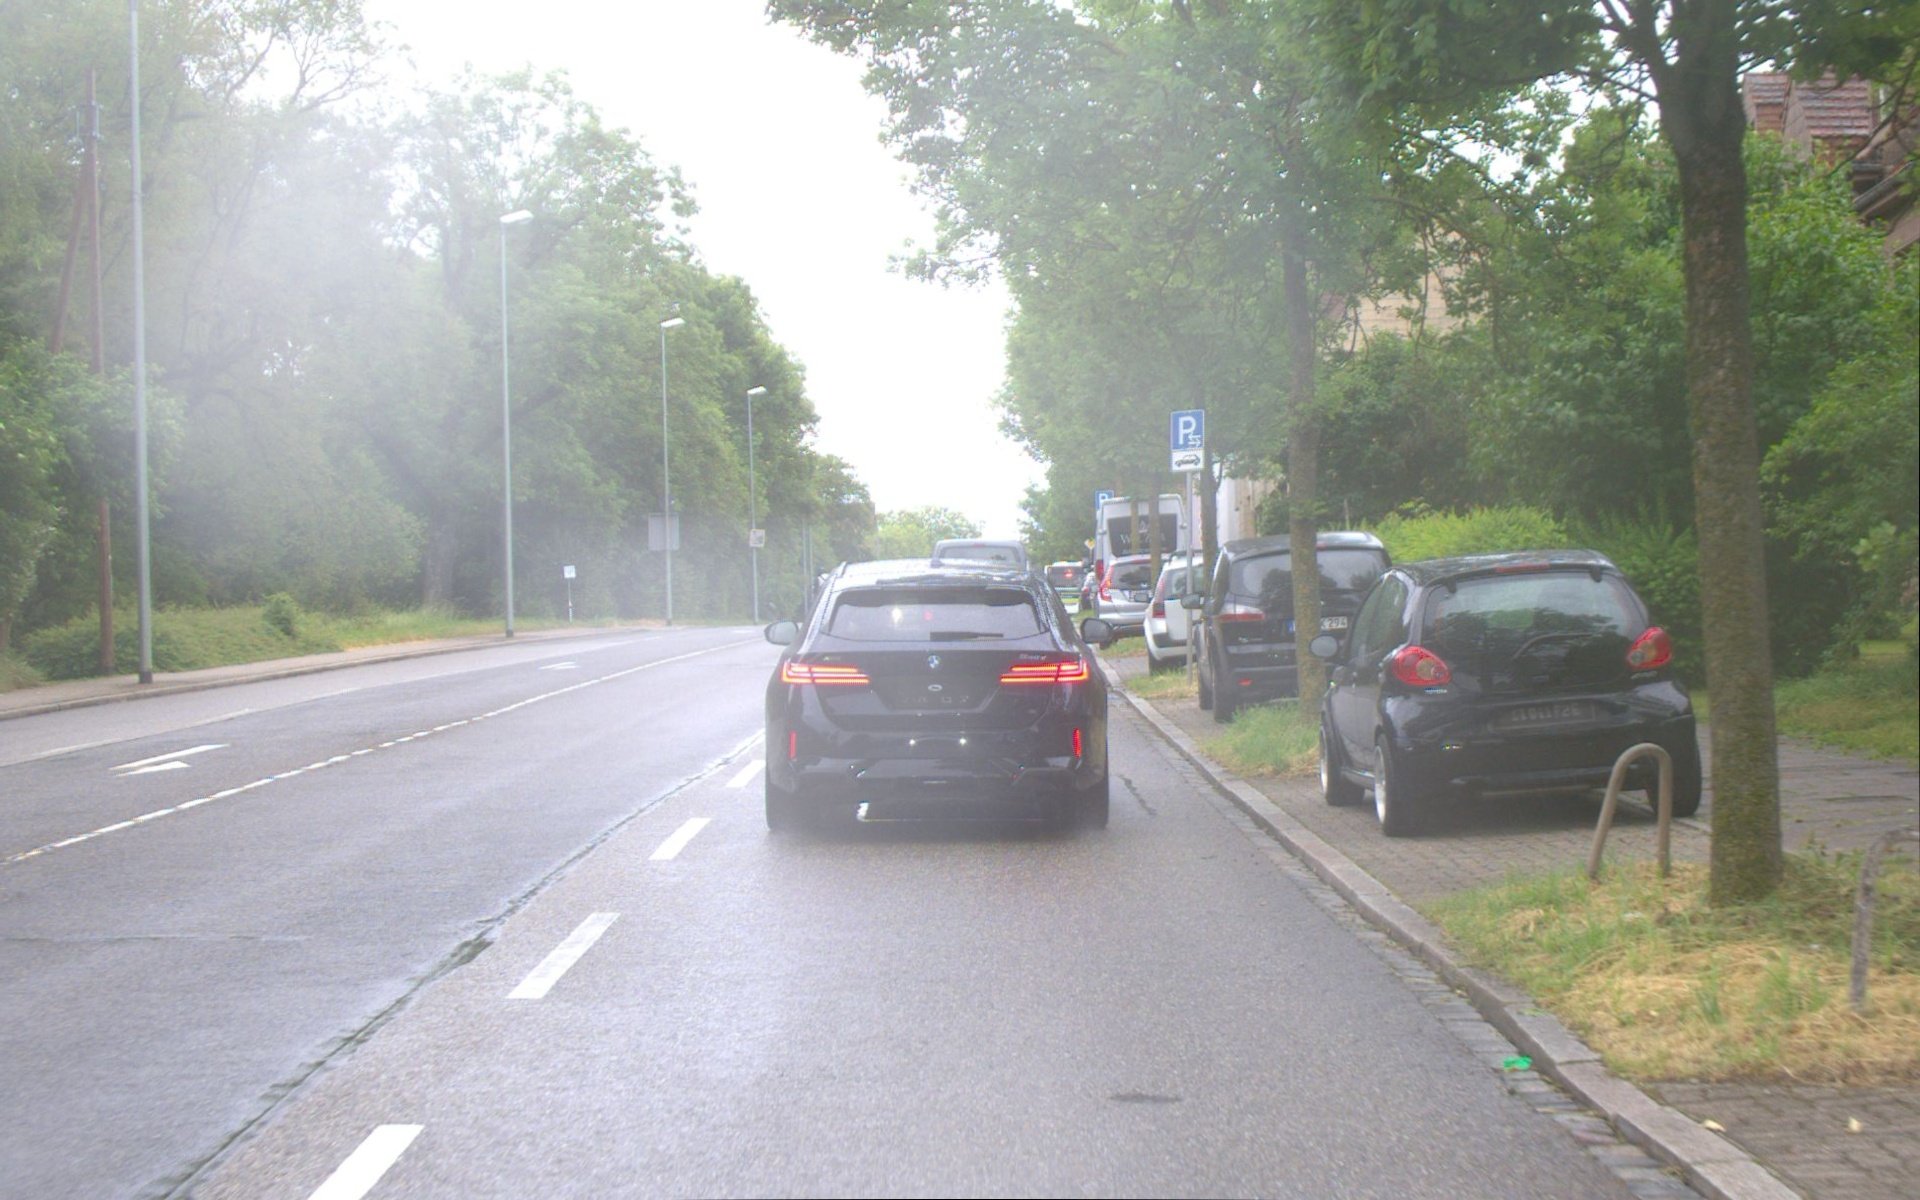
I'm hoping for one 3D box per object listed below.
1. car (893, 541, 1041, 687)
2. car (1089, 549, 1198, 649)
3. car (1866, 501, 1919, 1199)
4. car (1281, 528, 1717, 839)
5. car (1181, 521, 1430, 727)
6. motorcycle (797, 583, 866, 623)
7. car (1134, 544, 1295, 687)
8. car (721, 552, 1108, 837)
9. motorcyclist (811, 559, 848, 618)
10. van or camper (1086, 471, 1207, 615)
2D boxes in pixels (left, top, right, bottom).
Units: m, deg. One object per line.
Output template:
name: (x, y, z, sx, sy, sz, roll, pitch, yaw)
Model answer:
car: (0.140, 0.205, 49.930, 1.993, 2.007, 4.000, -1, 0, 2)
car: (3.134, -0.026, 58.028, 1.669, 1.523, 3.831, -4, 0, 4)
car: (2.994, 0.541, 5.890, 1.641, 1.590, 4.014, -4, 1, -1)
car: (2.934, 0.401, 19.453, 1.722, 1.507, 3.786, -3, 1, -1)
car: (3.124, 0.184, 31.888, 1.824, 1.672, 4.584, -3, 0, 1)
motorcycle: (-3.661, 0.070, 97.649, 0.821, 1.114, 2.188, 0, 0, -38)
car: (3.184, 0.157, 42.959, 1.824, 1.597, 4.473, -3, 0, 4)
car: (-0.244, 0.503, 19.956, 1.993, 1.448, 4.000, 1, 0, 0)
motorcyclist: (-3.712, -0.333, 97.707, 0.811, 1.675, 0.651, 0, 0, -37)
van or camper: (3.719, -1.129, 69.775, 2.198, 2.642, 7.301, -3, 0, 2)
